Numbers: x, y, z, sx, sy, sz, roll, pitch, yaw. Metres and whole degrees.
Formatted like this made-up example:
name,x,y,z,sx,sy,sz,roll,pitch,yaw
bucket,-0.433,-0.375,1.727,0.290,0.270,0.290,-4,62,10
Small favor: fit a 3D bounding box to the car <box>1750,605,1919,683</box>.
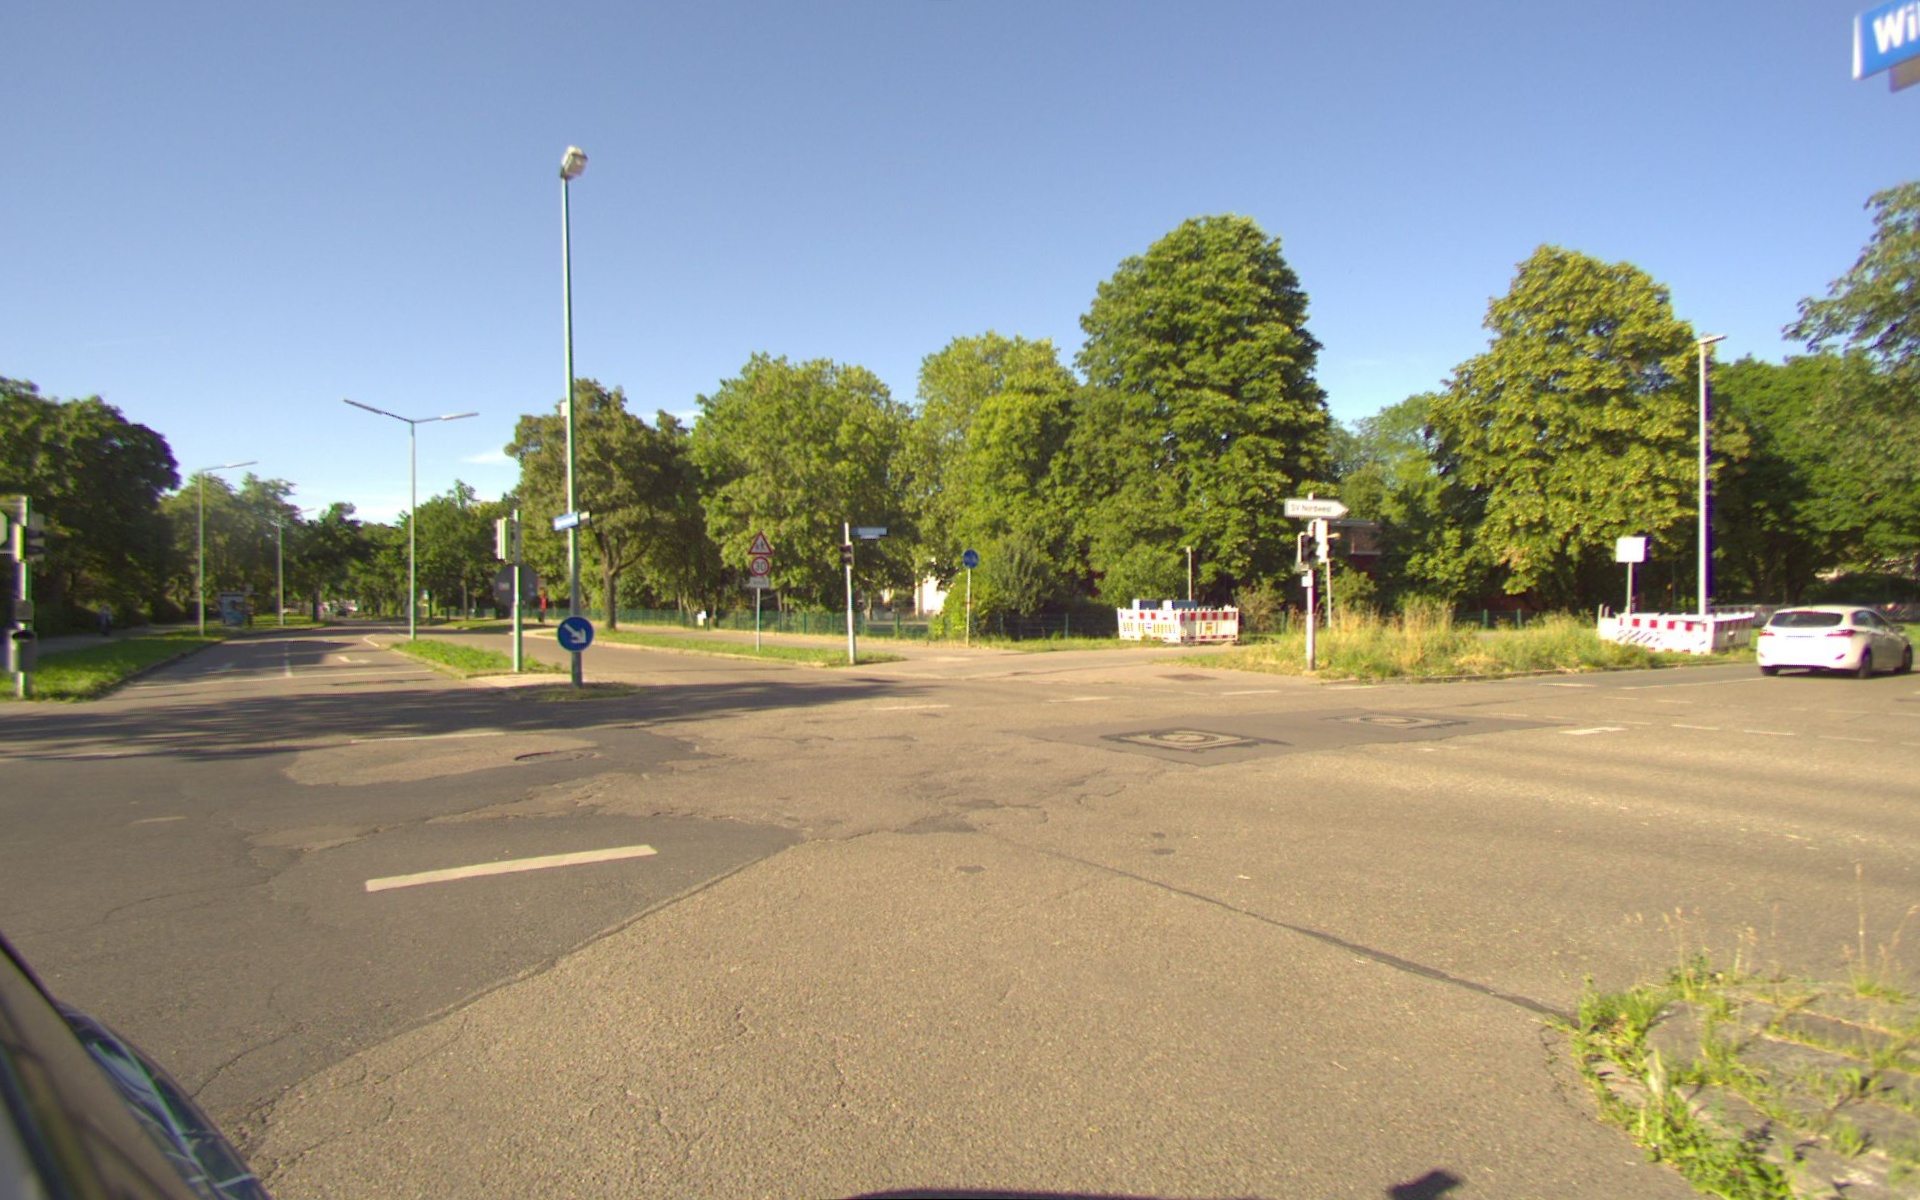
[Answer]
name,x,y,z,sx,sy,sz,roll,pitch,yaw
car,18.633,0.865,21.480,3.897,1.474,1.800,0,0,-34
